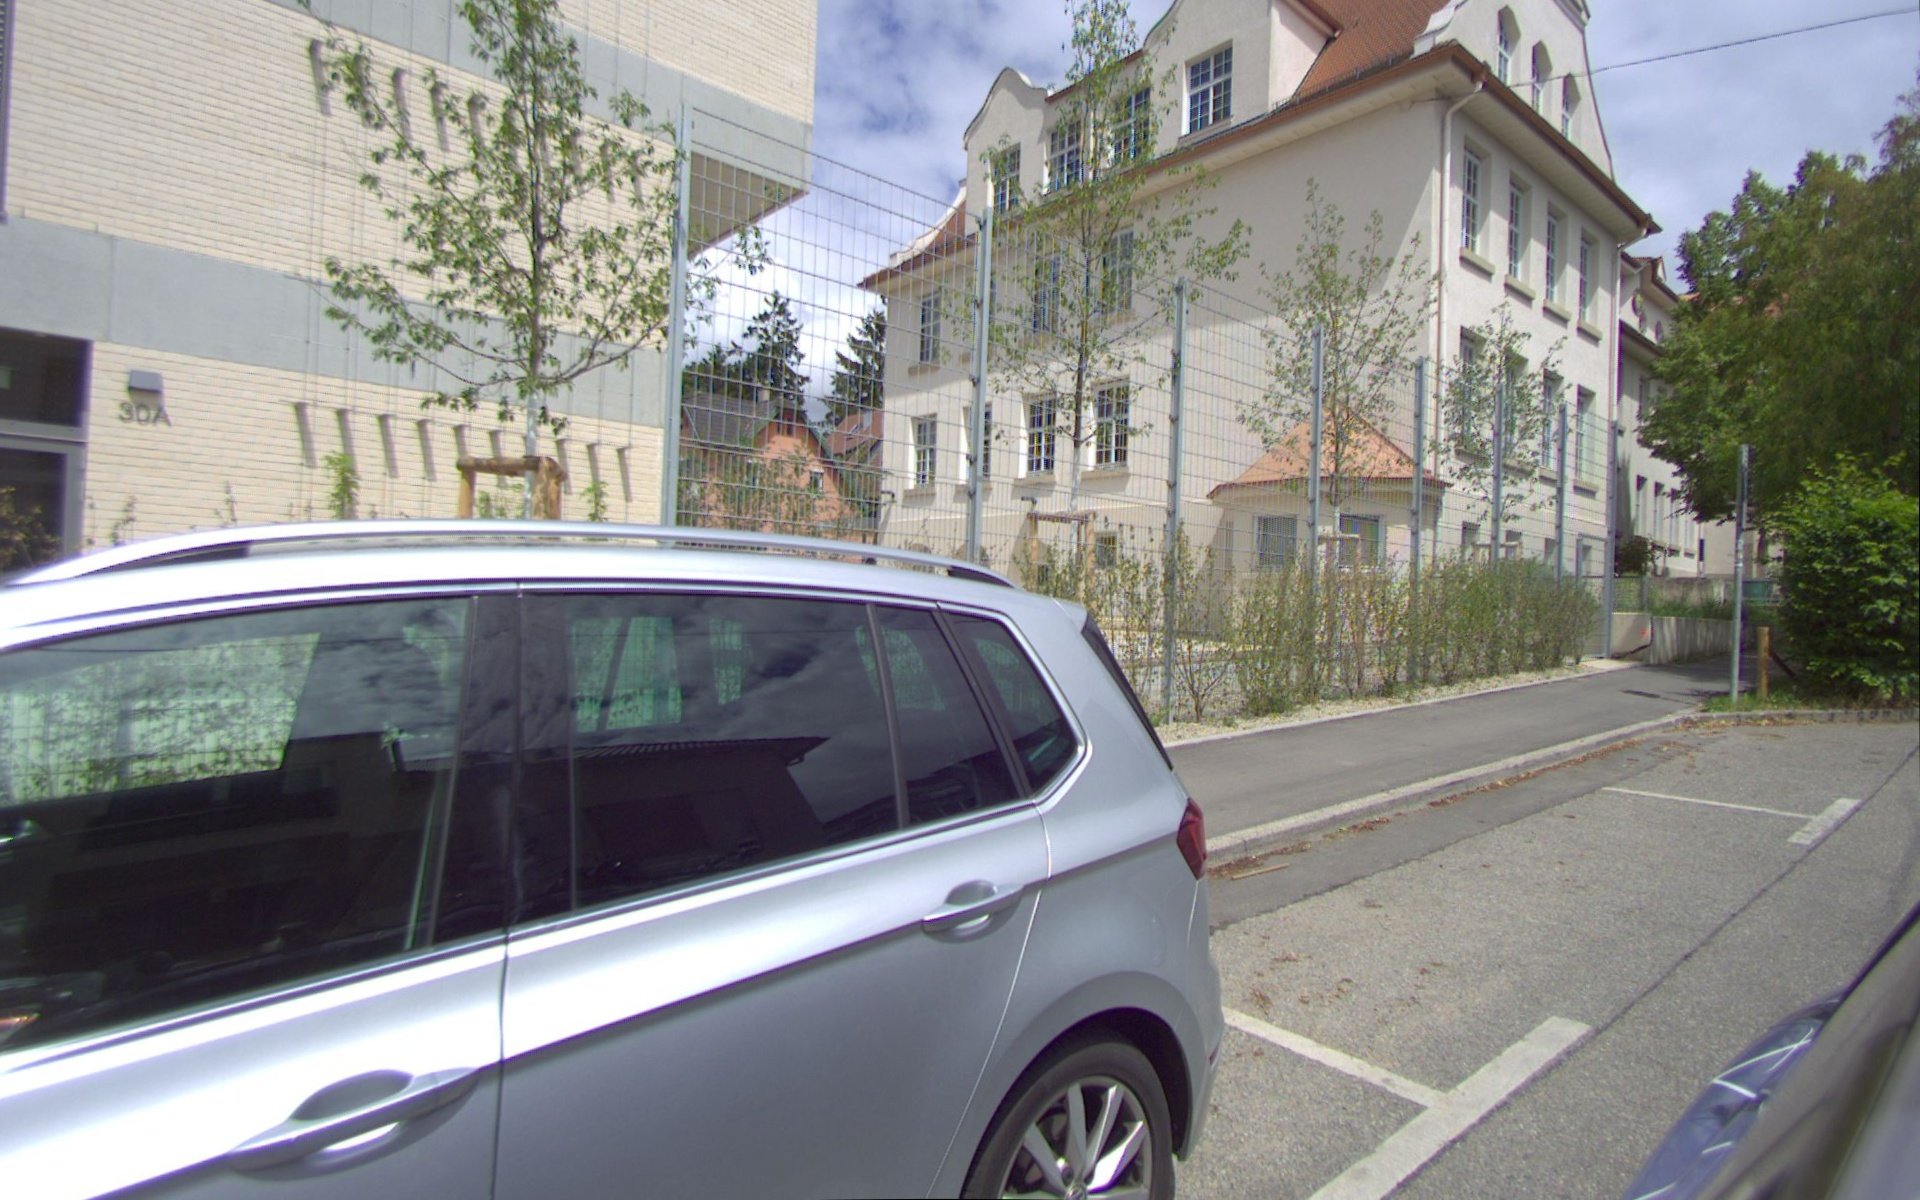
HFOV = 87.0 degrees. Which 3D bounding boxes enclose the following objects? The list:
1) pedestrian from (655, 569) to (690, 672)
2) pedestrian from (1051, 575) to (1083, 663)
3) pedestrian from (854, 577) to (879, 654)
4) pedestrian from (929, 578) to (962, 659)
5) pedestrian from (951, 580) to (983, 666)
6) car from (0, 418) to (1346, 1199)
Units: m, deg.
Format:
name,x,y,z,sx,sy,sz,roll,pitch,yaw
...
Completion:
name,x,y,z,sx,sy,sz,roll,pitch,yaw
pedestrian,-4.049,0.278,14.262,0.361,1.433,0.351,0,0,-41
pedestrian,1.662,0.290,15.717,0.370,1.344,0.313,0,0,44
pedestrian,-1.765,0.284,19.145,0.361,1.433,0.293,0,0,-41
pedestrian,-0.245,0.307,17.273,0.370,1.344,0.437,0,0,41
pedestrian,0.108,0.352,16.128,0.370,1.344,0.346,0,0,41
car,-1.297,0.599,1.634,4.288,1.528,1.789,0,1,-41
